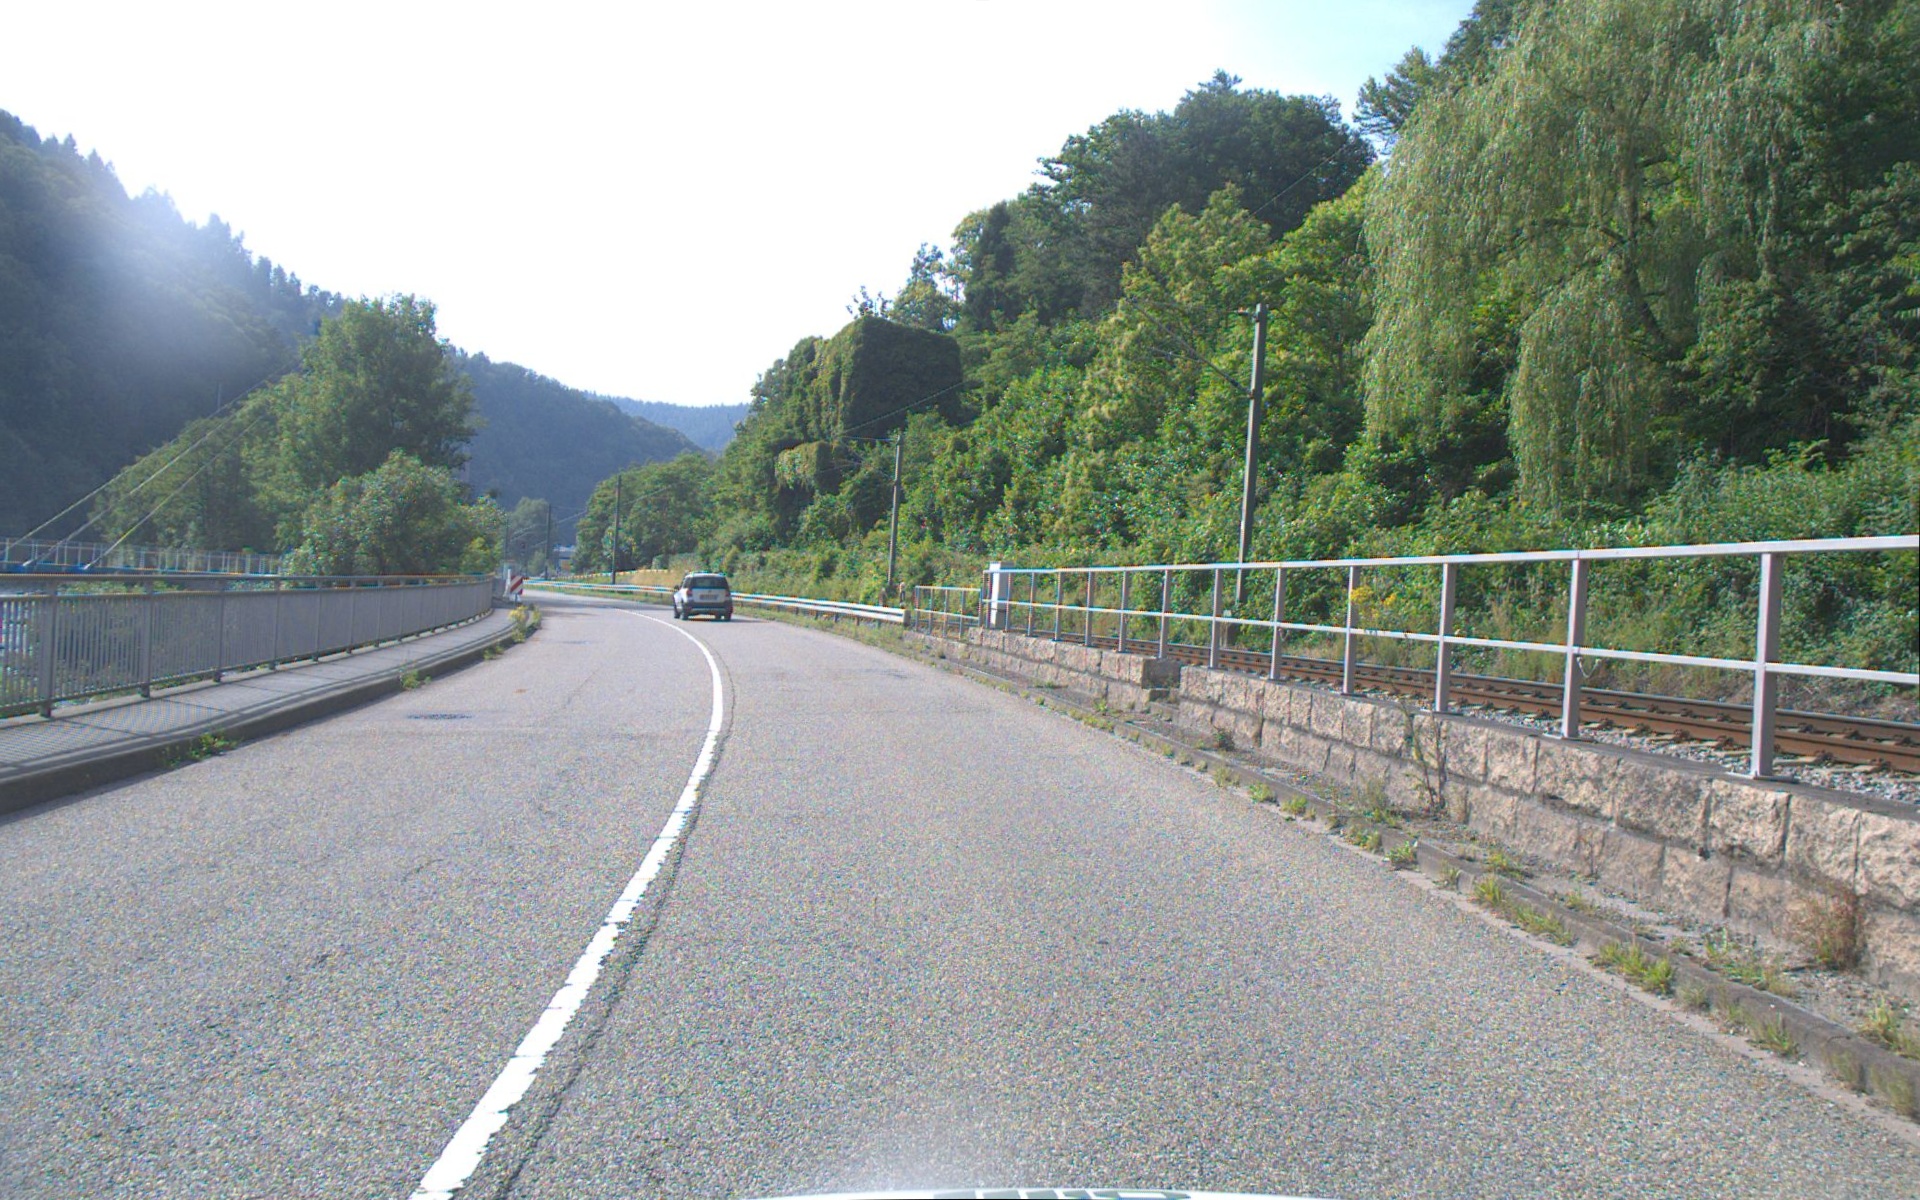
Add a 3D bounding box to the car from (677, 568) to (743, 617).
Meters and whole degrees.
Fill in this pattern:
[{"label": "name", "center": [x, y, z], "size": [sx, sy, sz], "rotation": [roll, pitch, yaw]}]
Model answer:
[{"label": "car", "center": [-9.057, -0.272, 59.602], "size": [1.842, 1.684, 3.983], "rotation": [1, 0, -16]}]
